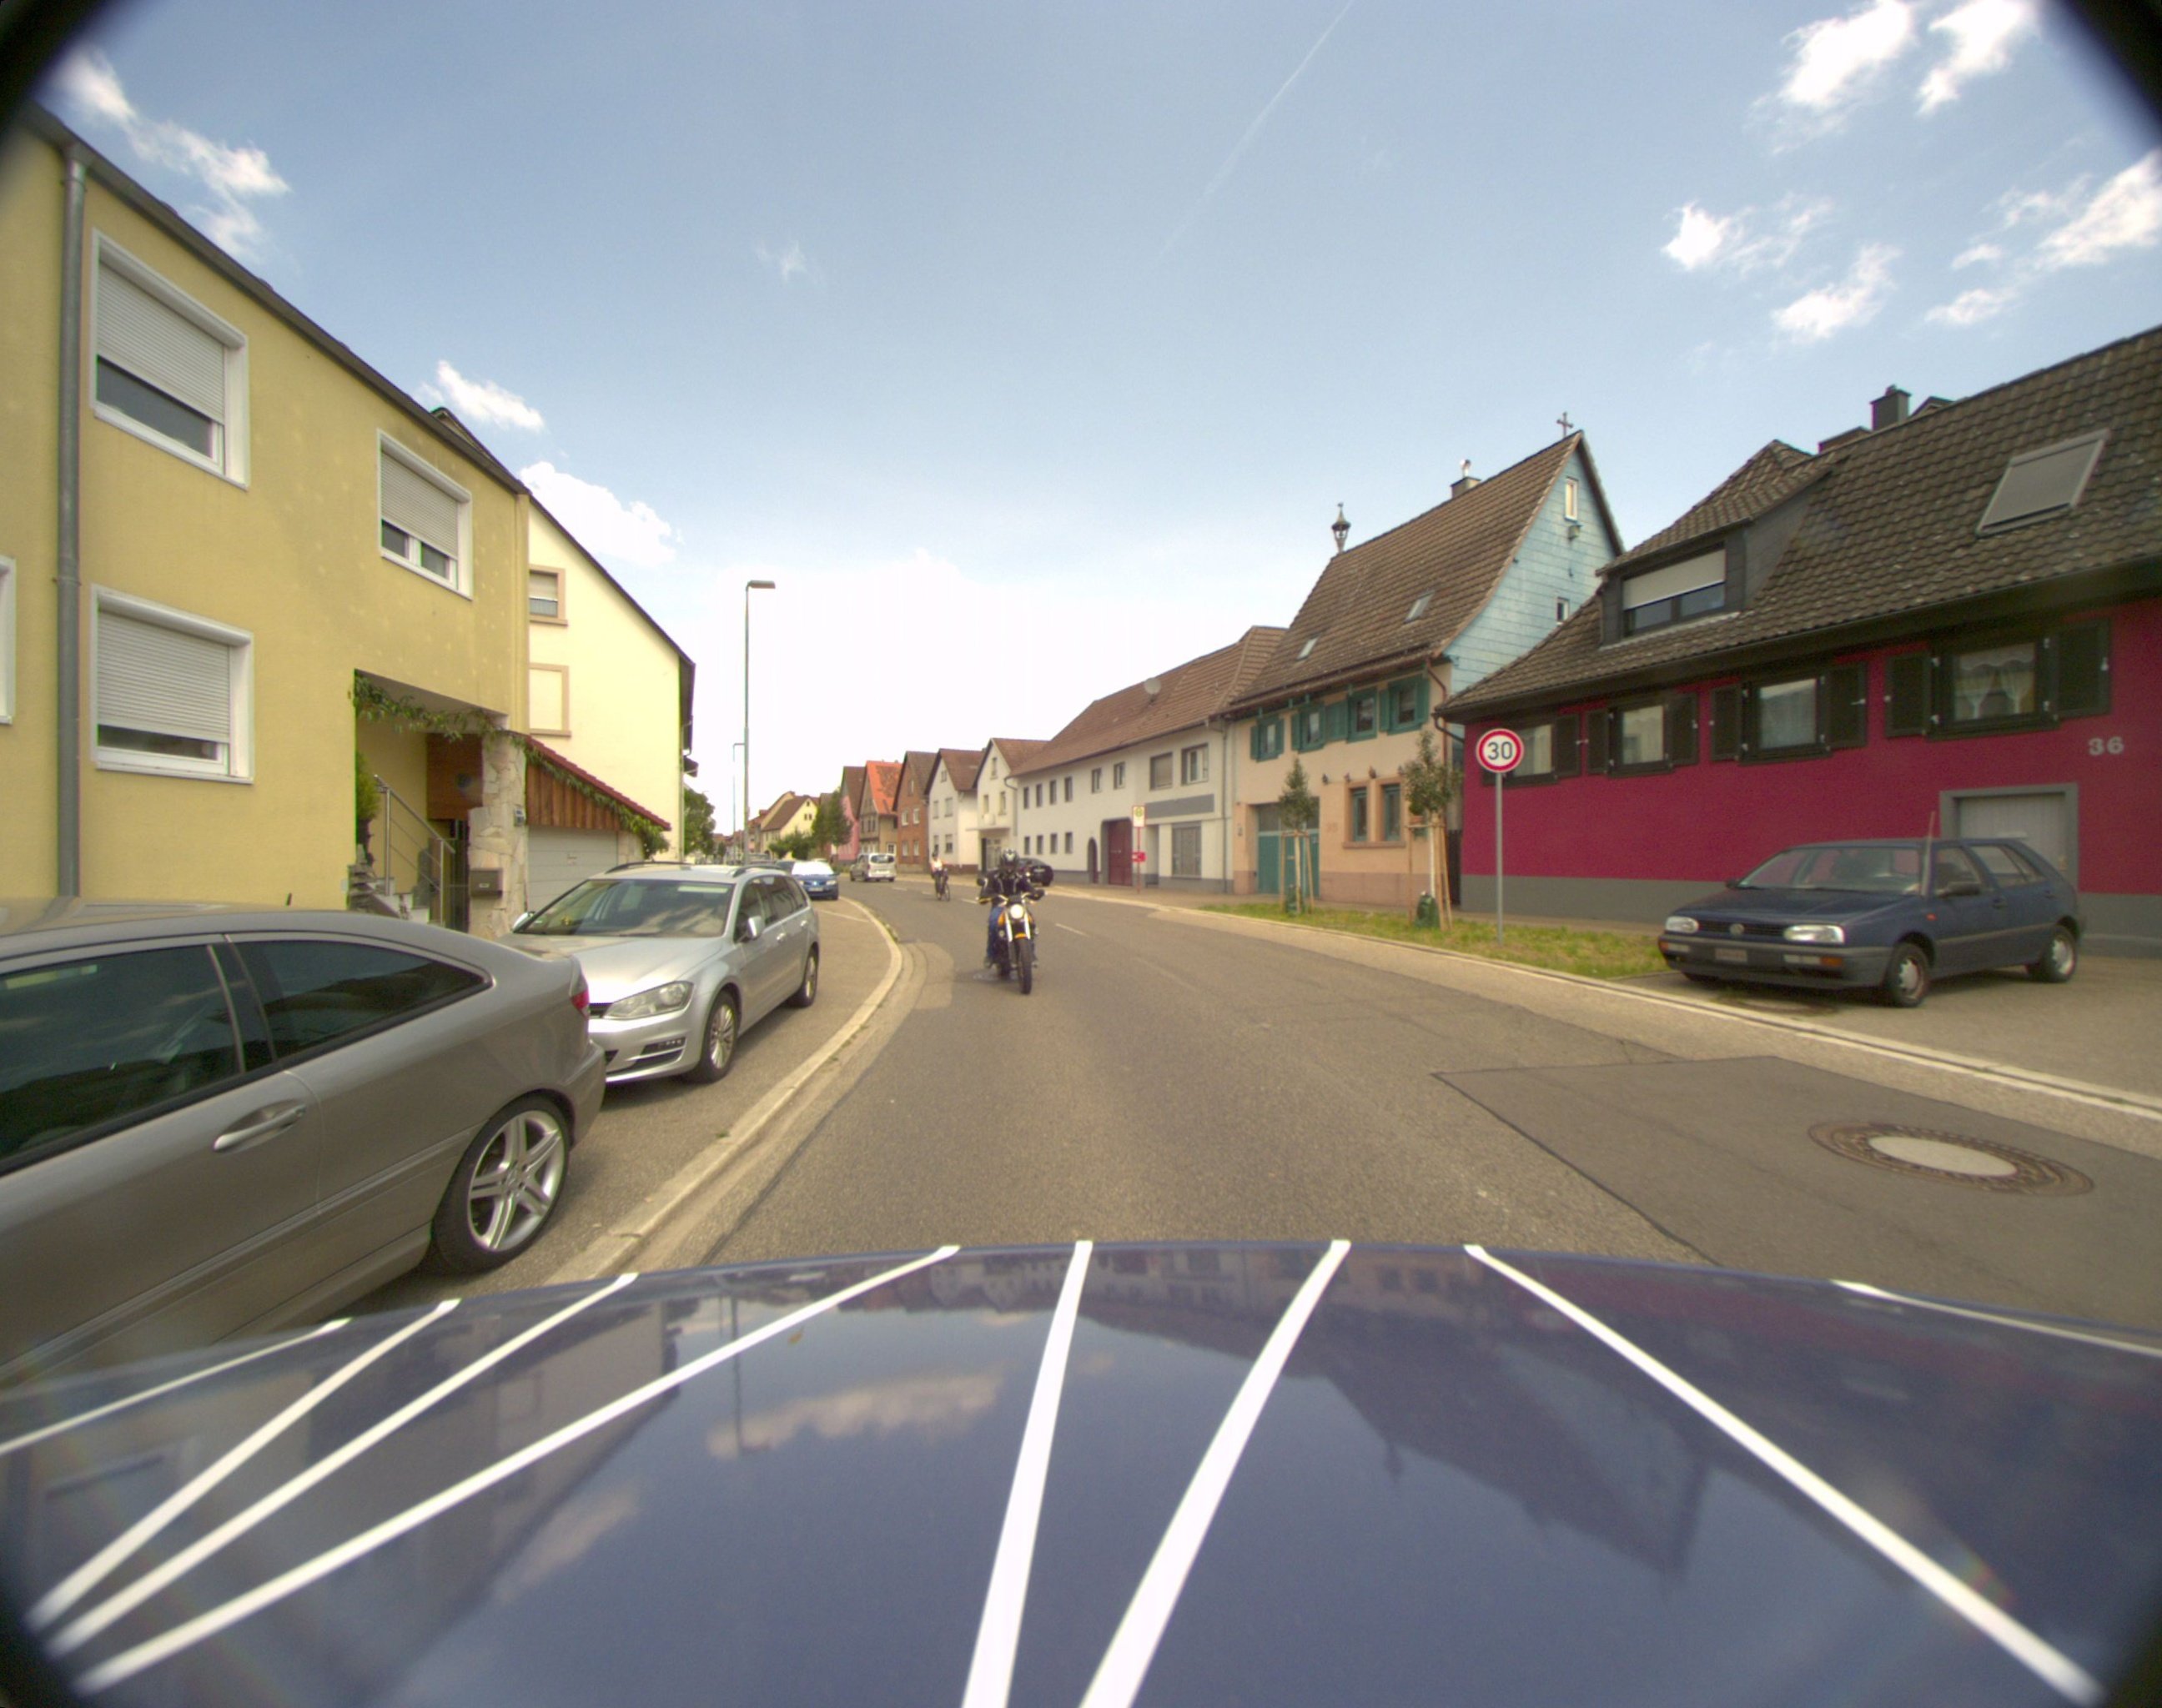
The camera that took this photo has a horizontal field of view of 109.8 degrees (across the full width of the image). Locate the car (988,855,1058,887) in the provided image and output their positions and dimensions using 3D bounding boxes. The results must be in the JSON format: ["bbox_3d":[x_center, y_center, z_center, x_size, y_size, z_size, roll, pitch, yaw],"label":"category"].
[{"bbox_3d":[-2.864,0.806,36.696,1.812,1.412,4.541,-2,0,-26],"label":"car"}]

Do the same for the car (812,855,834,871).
[{"bbox_3d":[-27.116,0.937,79.898,1.687,1.521,3.491,-2,2,-26],"label":"car"}]

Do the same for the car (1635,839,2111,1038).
[{"bbox_3d":[7.642,0.641,7.370,3.983,1.455,1.718,-2,1,-20],"label":"car"}]

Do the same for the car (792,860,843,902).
[{"bbox_3d":[-10.161,0.977,29.152,1.730,1.377,3.992,0,1,-20],"label":"car"}]

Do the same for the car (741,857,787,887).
[{"bbox_3d":[-18.765,1.049,44.889,1.669,1.638,3.989,-3,1,-35],"label":"car"}]

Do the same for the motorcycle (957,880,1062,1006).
[{"bbox_3d":[-0.799,0.992,9.202,0.985,1.234,2.103,-2,0,1],"label":"motorcycle"}]

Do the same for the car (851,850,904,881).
[{"bbox_3d":[-13.120,0.677,48.728,2.003,1.790,4.923,-2,2,-30],"label":"car"}]

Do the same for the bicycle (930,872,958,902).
[{"bbox_3d":[-4.914,1.157,27.222,0.934,1.005,1.923,-2,0,-11],"label":"bicycle"}]

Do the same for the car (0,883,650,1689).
[{"bbox_3d":[-2.984,0.911,1.378,1.774,1.392,4.424,2,1,1],"label":"car"}]

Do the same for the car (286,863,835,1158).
[{"bbox_3d":[-3.521,0.899,6.328,1.890,1.521,4.333,2,0,-6],"label":"car"}]

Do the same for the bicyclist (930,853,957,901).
[{"bbox_3d":[-4.978,0.816,27.477,0.910,1.679,0.760,-1,2,-10],"label":"bicyclist"}]

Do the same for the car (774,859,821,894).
[{"bbox_3d":[-13.565,1.084,36.190,1.776,1.520,3.993,-1,-2,-25],"label":"car"}]

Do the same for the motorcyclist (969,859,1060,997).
[{"bbox_3d":[-0.798,0.876,9.362,1.000,1.591,0.799,-1,2,1],"label":"motorcyclist"}]
